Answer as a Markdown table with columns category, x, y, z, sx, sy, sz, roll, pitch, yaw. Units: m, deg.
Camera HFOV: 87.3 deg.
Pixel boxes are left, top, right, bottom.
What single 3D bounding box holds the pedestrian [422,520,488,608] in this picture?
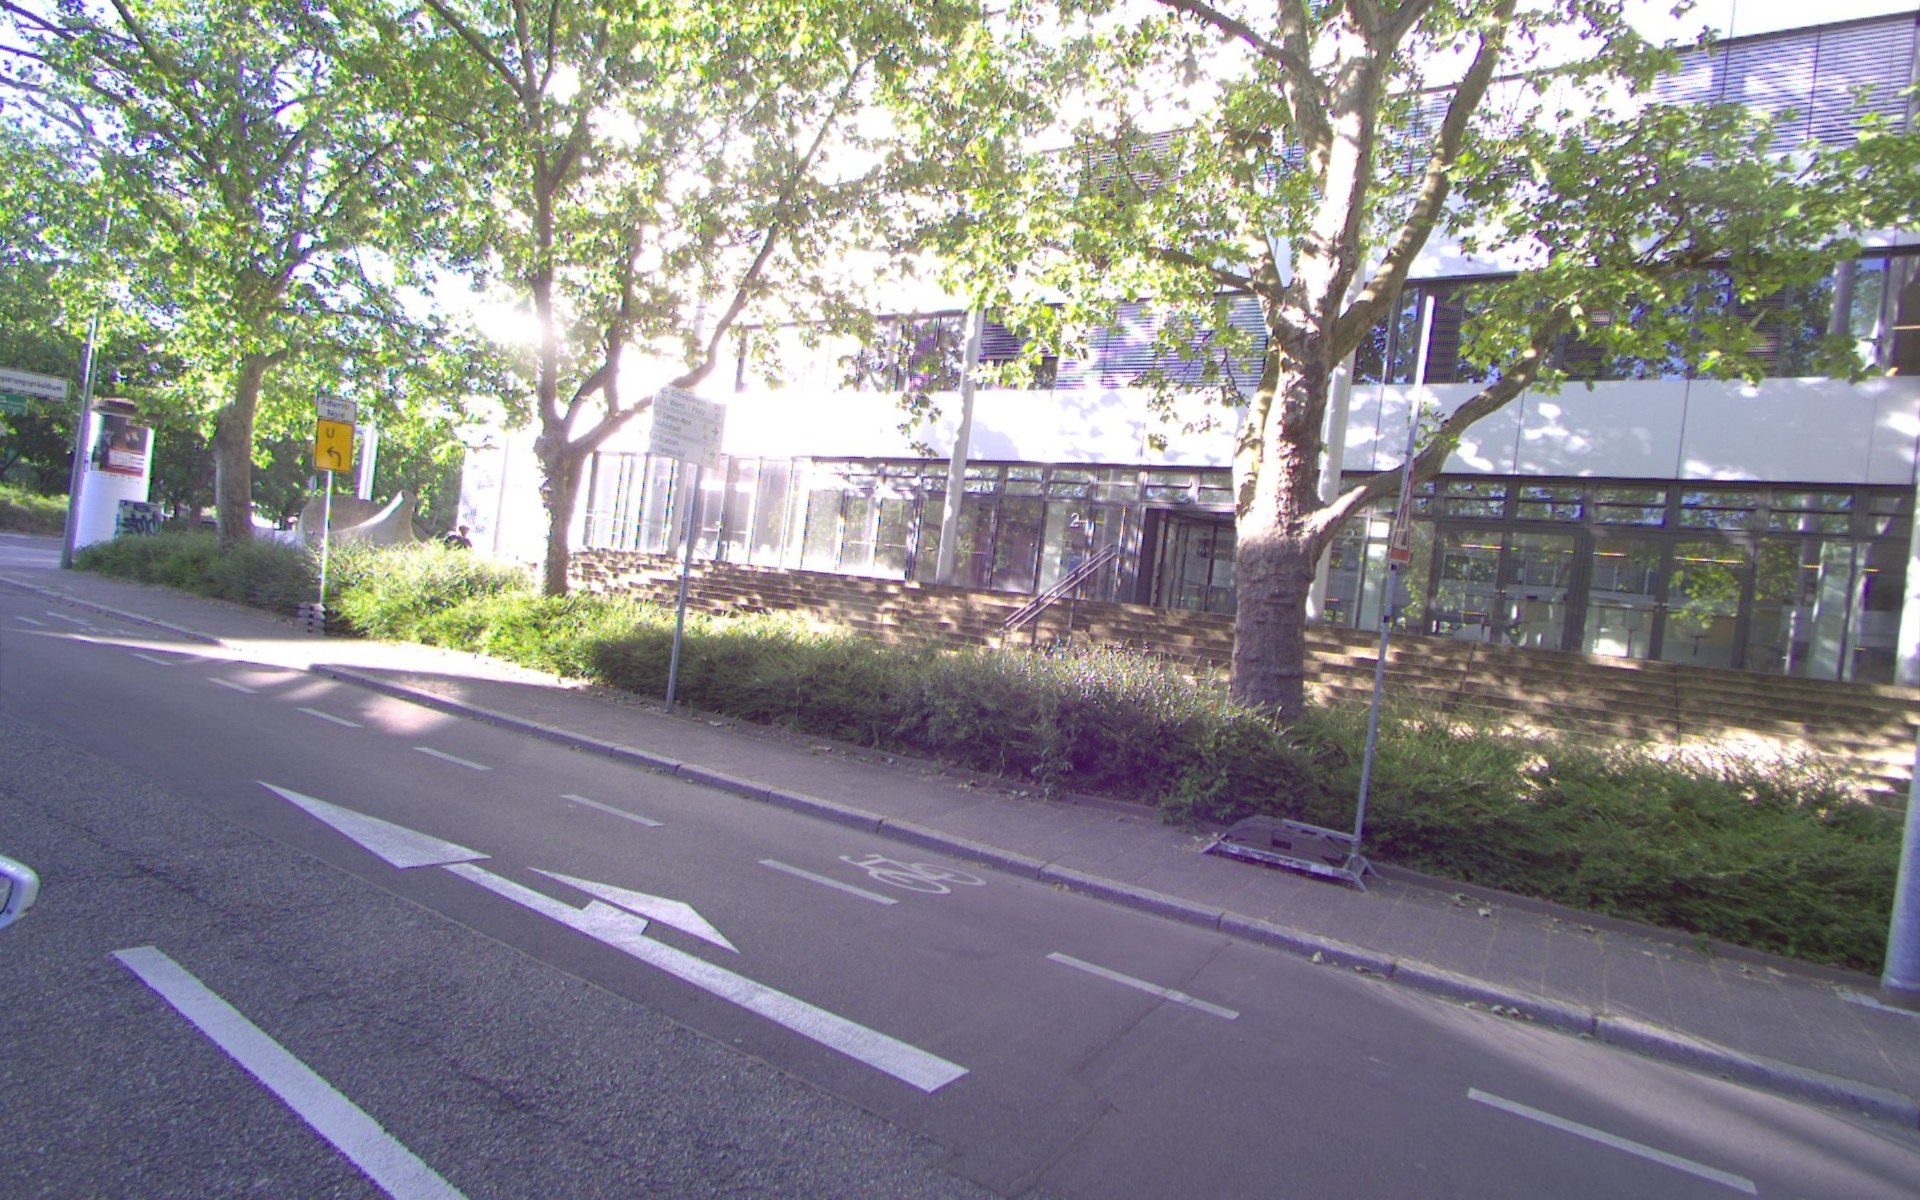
| category | x | y | z | sx | sy | sz | roll | pitch | yaw |
| --- | --- | --- | --- | --- | --- | --- | --- | --- | --- |
| pedestrian | -11.146 | -0.788 | 22.196 | 0.848 | 1.802 | 0.785 | 7 | 0 | 30 |
